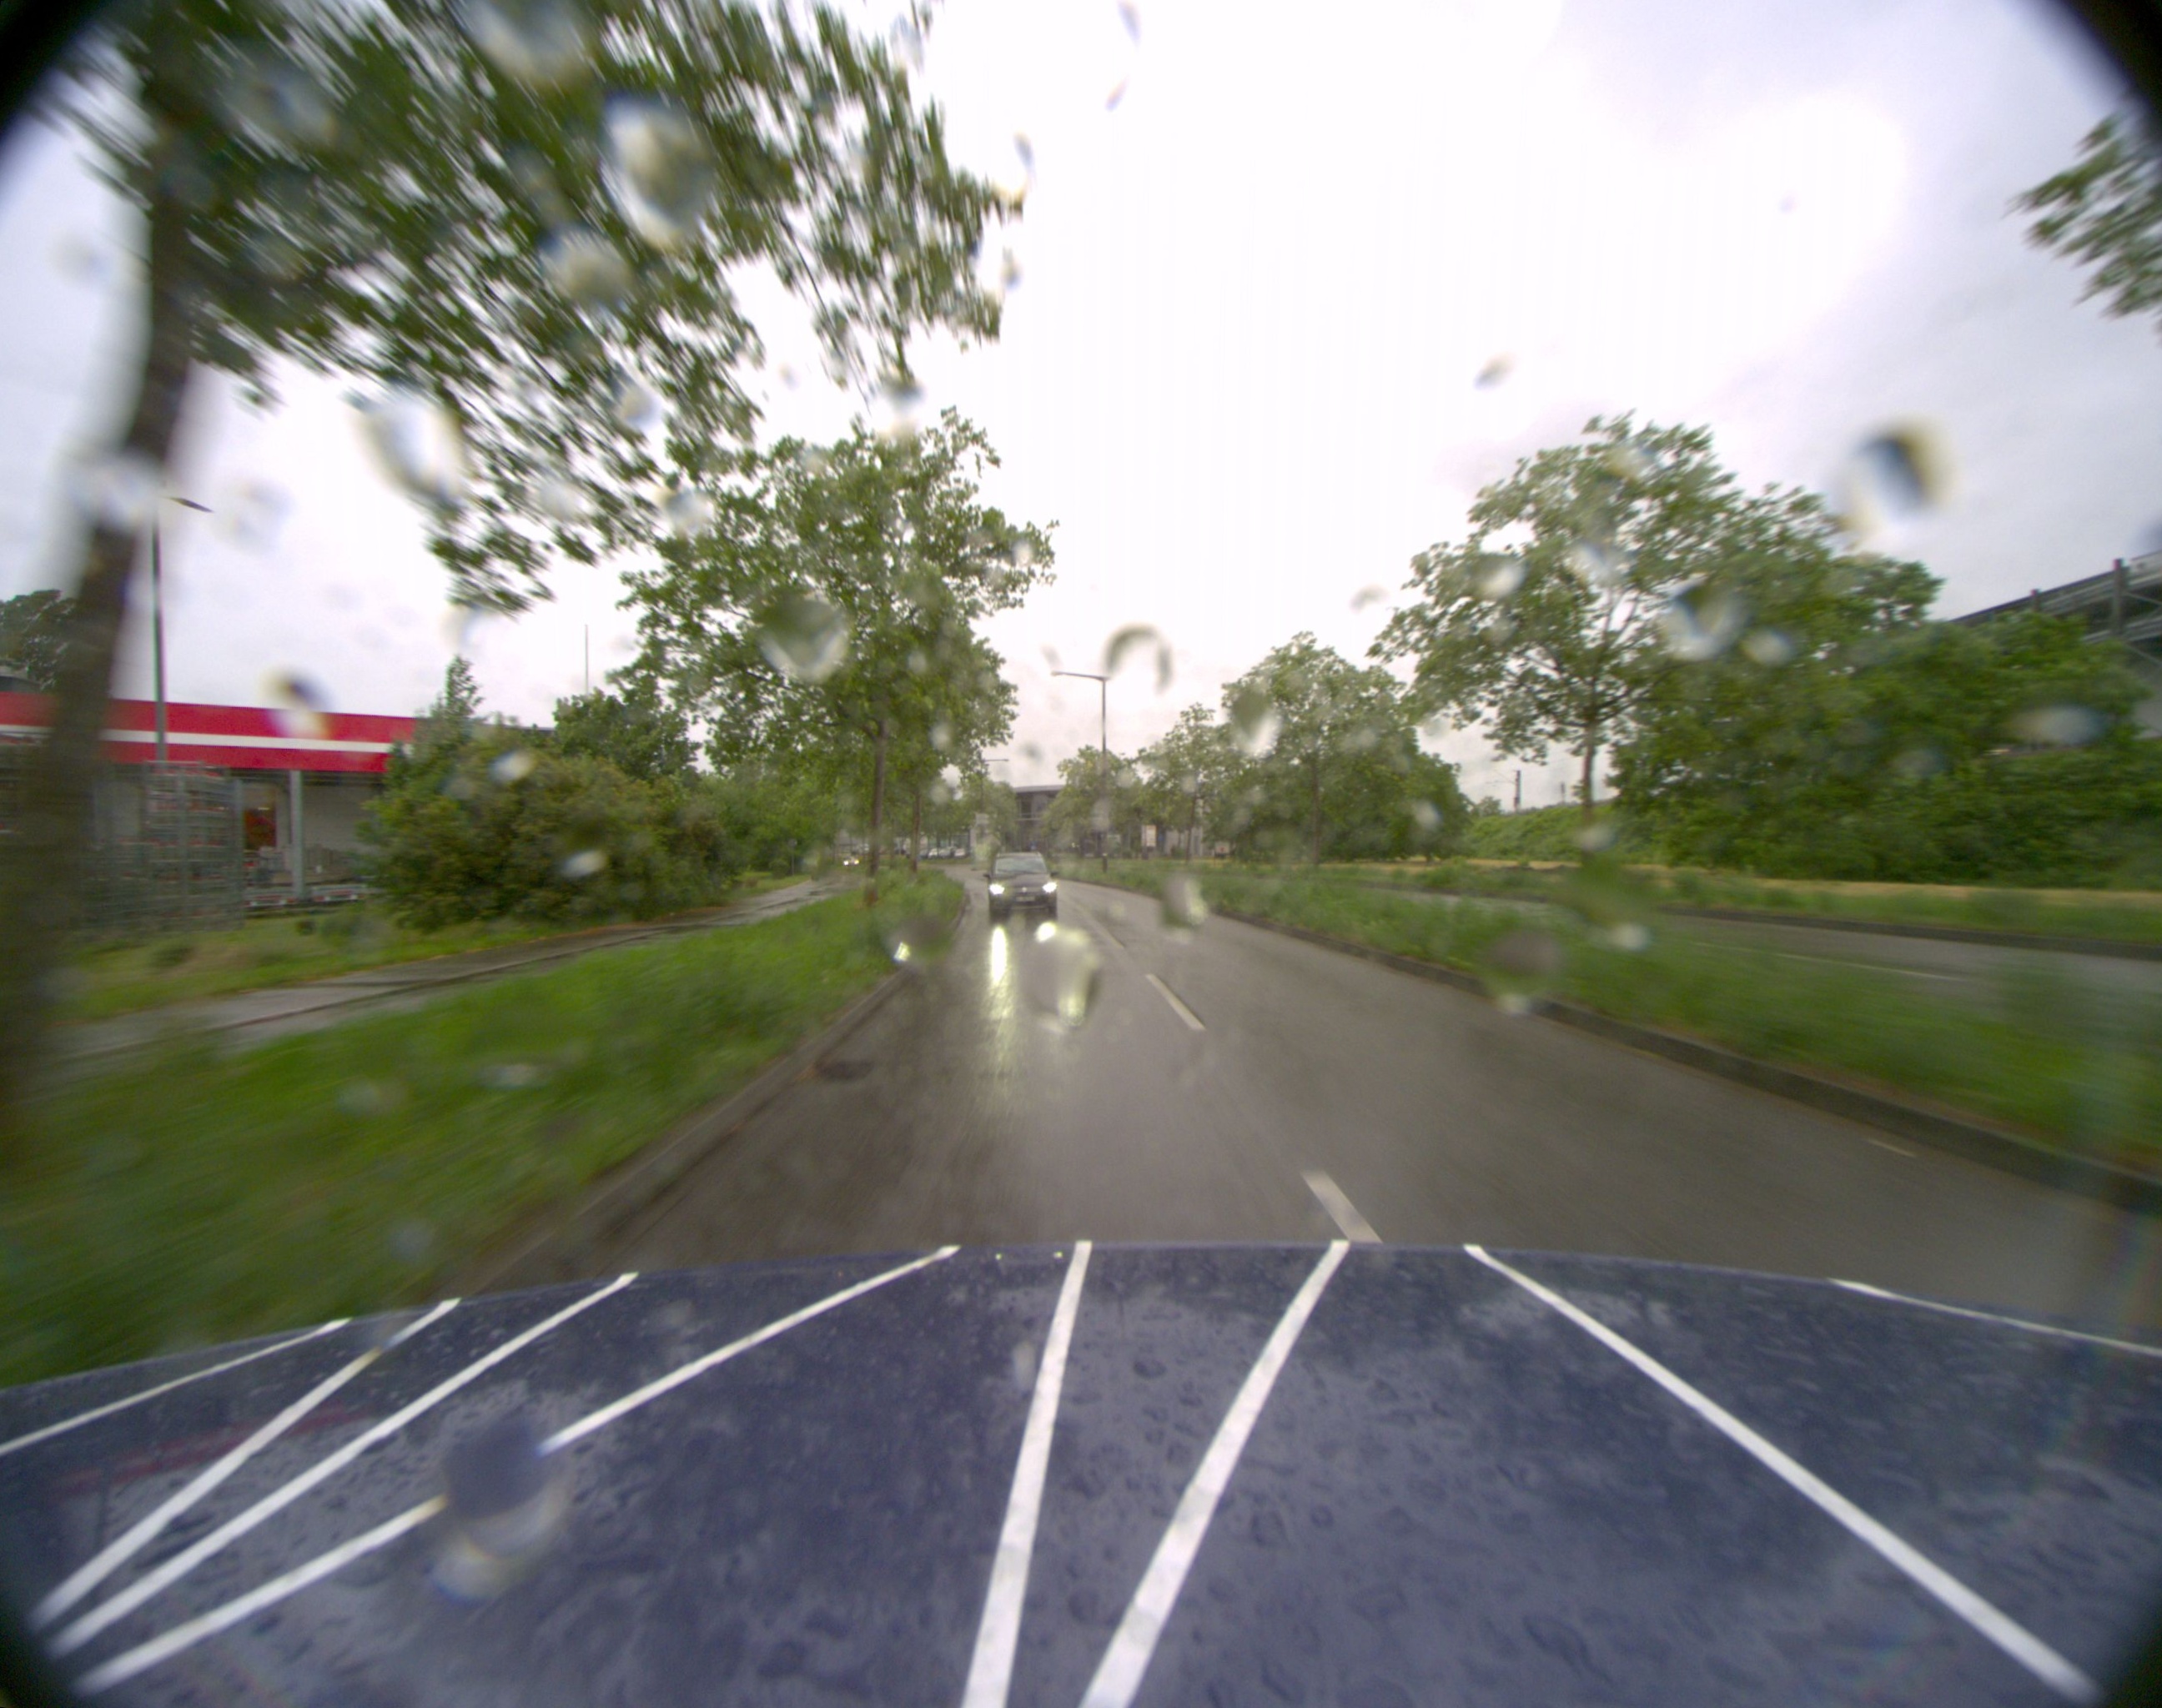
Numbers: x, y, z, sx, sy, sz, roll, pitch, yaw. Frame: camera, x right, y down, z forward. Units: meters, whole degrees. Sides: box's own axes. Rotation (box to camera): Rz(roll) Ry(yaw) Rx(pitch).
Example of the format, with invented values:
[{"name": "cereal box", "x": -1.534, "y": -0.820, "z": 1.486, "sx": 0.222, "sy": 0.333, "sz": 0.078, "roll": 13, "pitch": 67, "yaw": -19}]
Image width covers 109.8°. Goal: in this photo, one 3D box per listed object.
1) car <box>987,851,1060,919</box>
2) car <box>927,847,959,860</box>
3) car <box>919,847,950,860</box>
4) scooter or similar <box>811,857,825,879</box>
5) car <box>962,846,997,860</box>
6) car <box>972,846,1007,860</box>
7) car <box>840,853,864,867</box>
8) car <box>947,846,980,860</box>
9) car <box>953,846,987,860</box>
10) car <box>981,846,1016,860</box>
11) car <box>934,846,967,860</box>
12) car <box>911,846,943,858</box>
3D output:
[{"name": "car", "x": -1.714, "y": 0.776, "z": 21.698, "sx": 1.789, "sy": 1.605, "sz": 4.713, "roll": -3, "pitch": 1, "yaw": -6}, {"name": "car", "x": -19.566, "y": -0.130, "z": 107.486, "sx": 4.007, "sy": 1.650, "sz": 1.860, "roll": -4, "pitch": 2, "yaw": -43}, {"name": "car", "x": -21.011, "y": -0.112, "z": 108.944, "sx": 4.007, "sy": 1.650, "sz": 1.860, "roll": -4, "pitch": 2, "yaw": -43}, {"name": "scooter or similar", "x": -15.150, "y": 0.795, "z": 43.797, "sx": 0.452, "sy": 1.267, "sz": 1.597, "roll": -2, "pitch": 1, "yaw": -29}, {"name": "car", "x": -13.074, "y": -0.108, "z": 98.055, "sx": 4.007, "sy": 1.650, "sz": 1.860, "roll": -4, "pitch": 2, "yaw": -43}, {"name": "car", "x": -11.585, "y": -0.125, "z": 96.521, "sx": 4.007, "sy": 1.650, "sz": 1.860, "roll": -4, "pitch": 2, "yaw": -43}, {"name": "car", "x": -29.384, "y": 0.751, "z": 97.319, "sx": 2.003, "sy": 1.641, "sz": 3.990, "roll": -2, "pitch": 1, "yaw": -31}, {"name": "car", "x": -15.756, "y": -0.133, "z": 101.924, "sx": 4.007, "sy": 1.650, "sz": 1.860, "roll": -4, "pitch": 2, "yaw": -43}, {"name": "car", "x": -14.541, "y": -0.129, "z": 99.980, "sx": 4.007, "sy": 1.650, "sz": 1.860, "roll": -4, "pitch": 2, "yaw": -43}, {"name": "car", "x": -10.317, "y": -0.135, "z": 95.021, "sx": 4.007, "sy": 1.650, "sz": 1.860, "roll": -4, "pitch": 2, "yaw": -43}, {"name": "car", "x": -18.164, "y": -0.137, "z": 105.687, "sx": 4.007, "sy": 1.650, "sz": 1.860, "roll": -4, "pitch": 2, "yaw": -43}, {"name": "car", "x": -22.367, "y": -0.292, "z": 110.337, "sx": 4.007, "sy": 1.650, "sz": 1.860, "roll": -4, "pitch": 2, "yaw": -43}]
